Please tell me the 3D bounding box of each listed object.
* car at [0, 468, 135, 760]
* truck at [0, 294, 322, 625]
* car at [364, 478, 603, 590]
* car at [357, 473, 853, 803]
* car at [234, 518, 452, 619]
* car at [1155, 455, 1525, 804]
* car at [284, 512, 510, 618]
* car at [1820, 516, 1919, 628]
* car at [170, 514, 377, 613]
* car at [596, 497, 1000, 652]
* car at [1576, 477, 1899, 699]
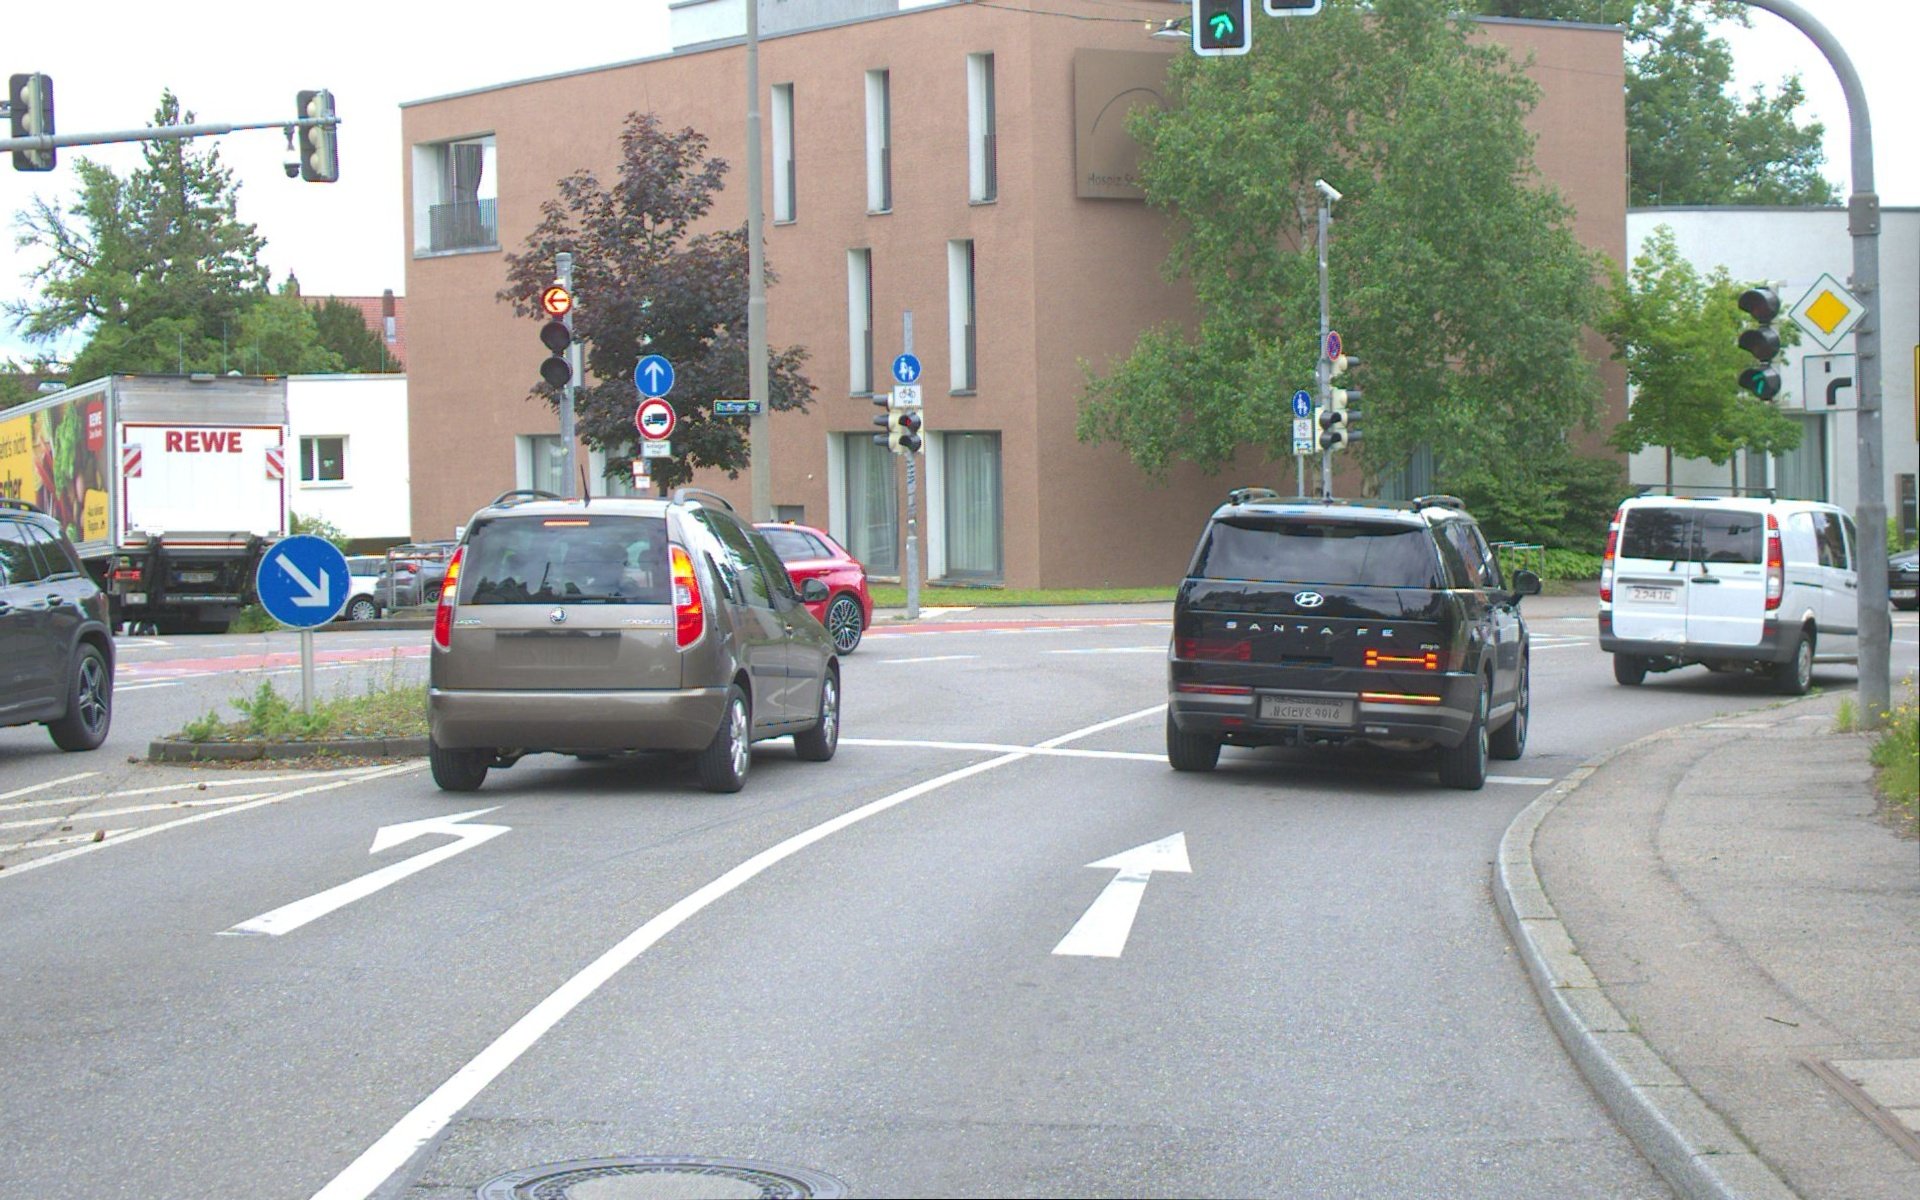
[{"bbox_3d":[-6.880,0.087,21.271,1.994,1.791,4.519,0,1,7],"label":"car"},{"bbox_3d":[-13.524,-2.187,54.945,3.125,4.718,11.797,-2,2,-28],"label":"truck"},{"bbox_3d":[-9.014,-1.270,65.042,3.987,2.006,2.000,-2,2,-30],"label":"car"},{"bbox_3d":[-1.918,0.147,19.867,1.894,1.700,3.999,-1,2,9],"label":"car"},{"bbox_3d":[-12.822,-0.684,71.442,3.987,2.007,2.000,-1,2,-31],"label":"car"},{"bbox_3d":[2.413,0.107,21.628,1.994,1.875,3.999,3,2,7],"label":"car"},{"bbox_3d":[-11.257,-0.723,68.789,3.987,2.006,2.000,-2,2,-31],"label":"car"},{"bbox_3d":[15.680,-0.476,53.481,4.771,1.652,1.999,-2,2,-39],"label":"car"},{"bbox_3d":[-15.102,-0.823,75.628,3.987,2.006,2.000,-3,2,-30],"label":"car"},{"bbox_3d":[-1.695,-0.317,37.166,1.998,1.559,4.208,1,2,41],"label":"car"},{"bbox_3d":[7.884,-0.196,34.578,1.965,2.006,4.421,3,3,28],"label":"car"}]
